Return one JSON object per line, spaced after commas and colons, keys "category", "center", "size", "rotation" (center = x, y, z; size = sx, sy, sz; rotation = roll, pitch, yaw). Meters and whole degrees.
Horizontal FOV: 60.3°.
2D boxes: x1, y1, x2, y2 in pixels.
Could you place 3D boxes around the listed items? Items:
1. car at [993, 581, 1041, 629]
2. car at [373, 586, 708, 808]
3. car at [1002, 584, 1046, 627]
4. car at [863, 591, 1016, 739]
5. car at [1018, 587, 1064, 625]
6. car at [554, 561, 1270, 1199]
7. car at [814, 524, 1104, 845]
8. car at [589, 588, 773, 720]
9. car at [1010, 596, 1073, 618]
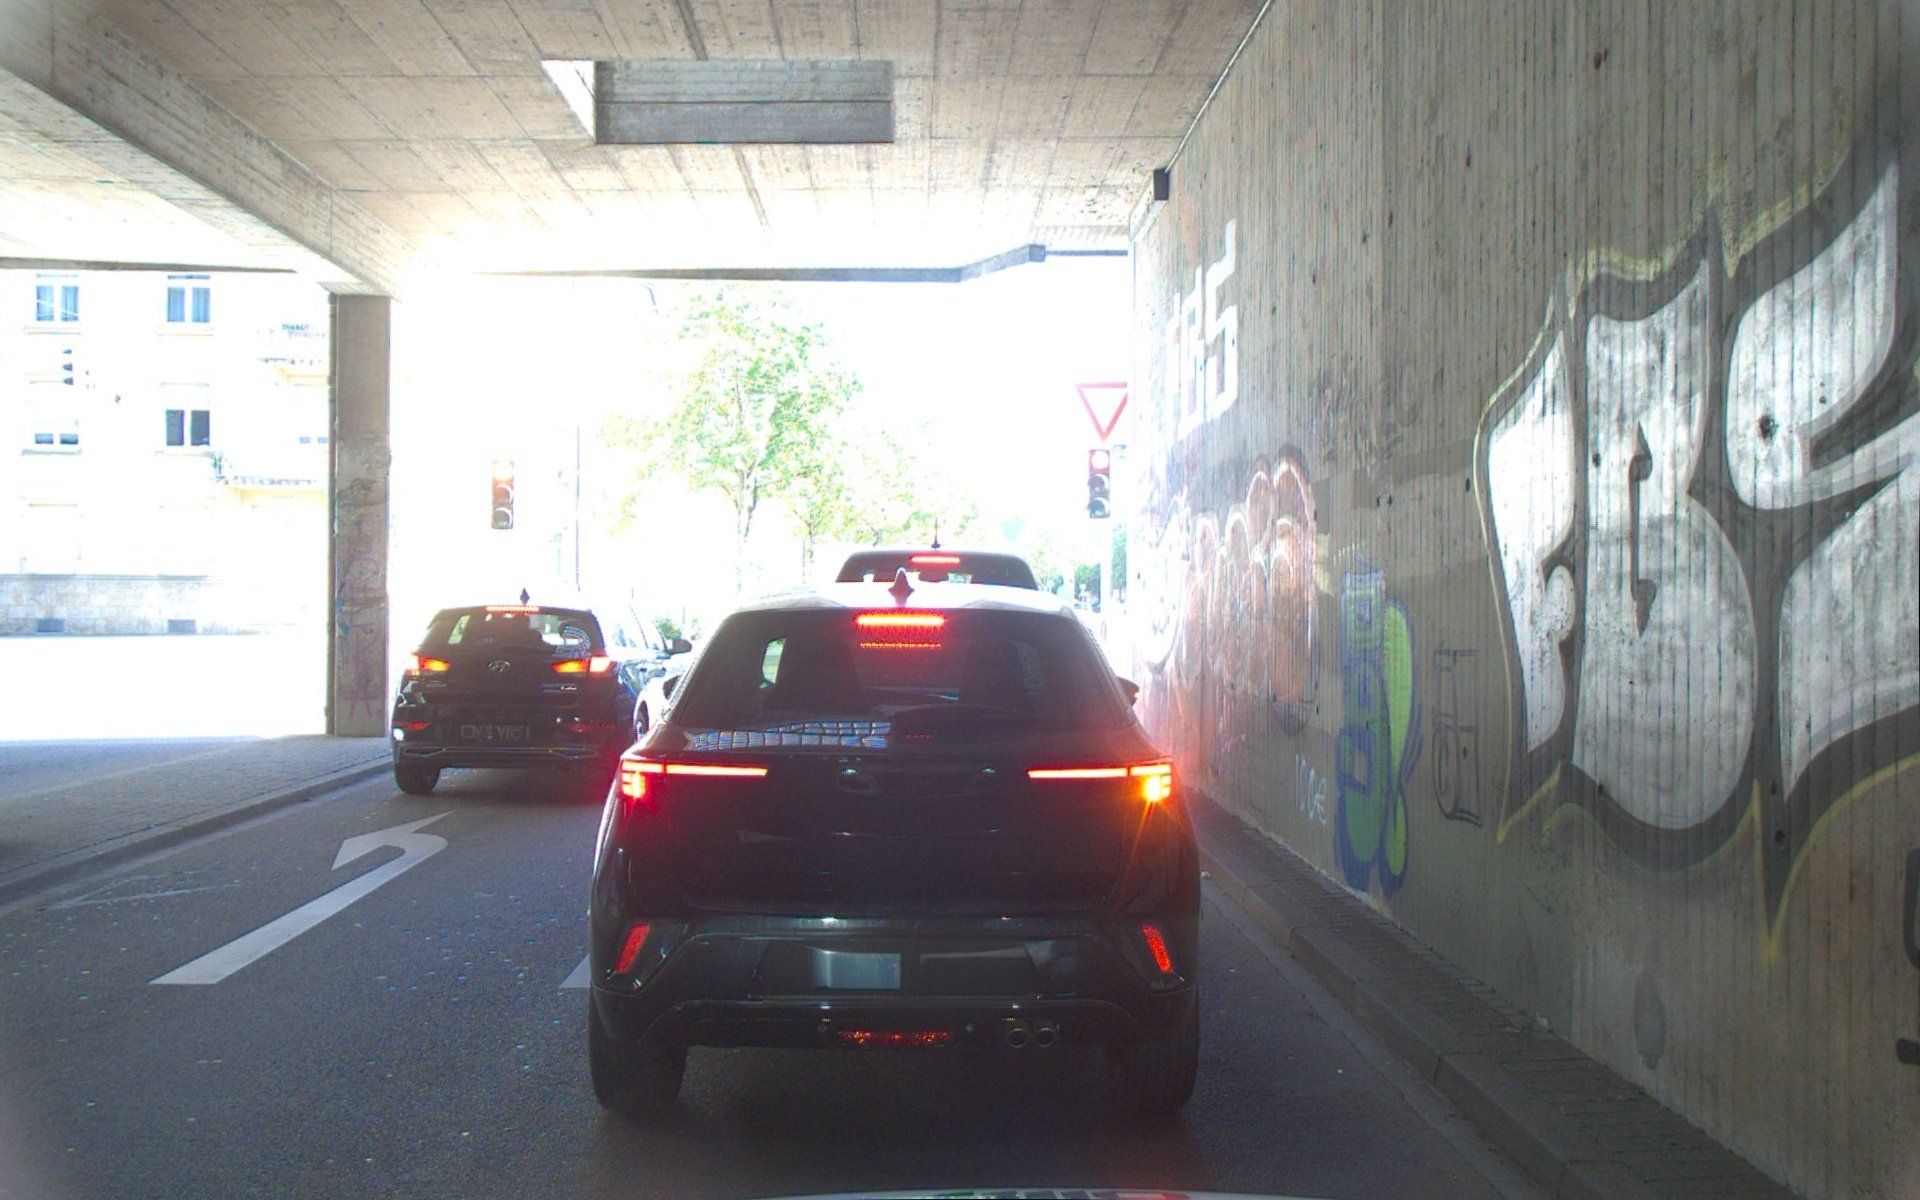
{"category": "car", "center": [2.181, 0.190, 62.192], "size": [1.717, 1.696, 3.946], "rotation": [1, 0, 3]}
{"category": "car", "center": [-3.151, 0.658, 13.196], "size": [1.726, 1.506, 3.843], "rotation": [0, 0, -1]}
{"category": "car", "center": [2.671, 0.225, 68.318], "size": [1.717, 1.696, 3.946], "rotation": [1, 0, 3]}
{"category": "car", "center": [-0.239, 0.671, 19.212], "size": [1.576, 1.539, 4.053], "rotation": [0, 0, -1]}
{"category": "car", "center": [3.738, 0.277, 75.907], "size": [1.716, 1.696, 3.947], "rotation": [1, 0, 8]}
{"category": "car", "center": [-0.141, 0.685, 6.053], "size": [1.726, 1.558, 4.088], "rotation": [0, 0, -1]}
{"category": "car", "center": [-0.034, 0.504, 11.998], "size": [1.726, 1.915, 4.145], "rotation": [0, 0, -1]}
{"category": "car", "center": [-3.421, 0.620, 20.917], "size": [1.726, 1.506, 3.843], "rotation": [0, 0, -1]}
{"category": "car", "center": [6.598, 0.532, 133.833], "size": [4.732, 1.696, 1.812], "rotation": [1, 0, -22]}
